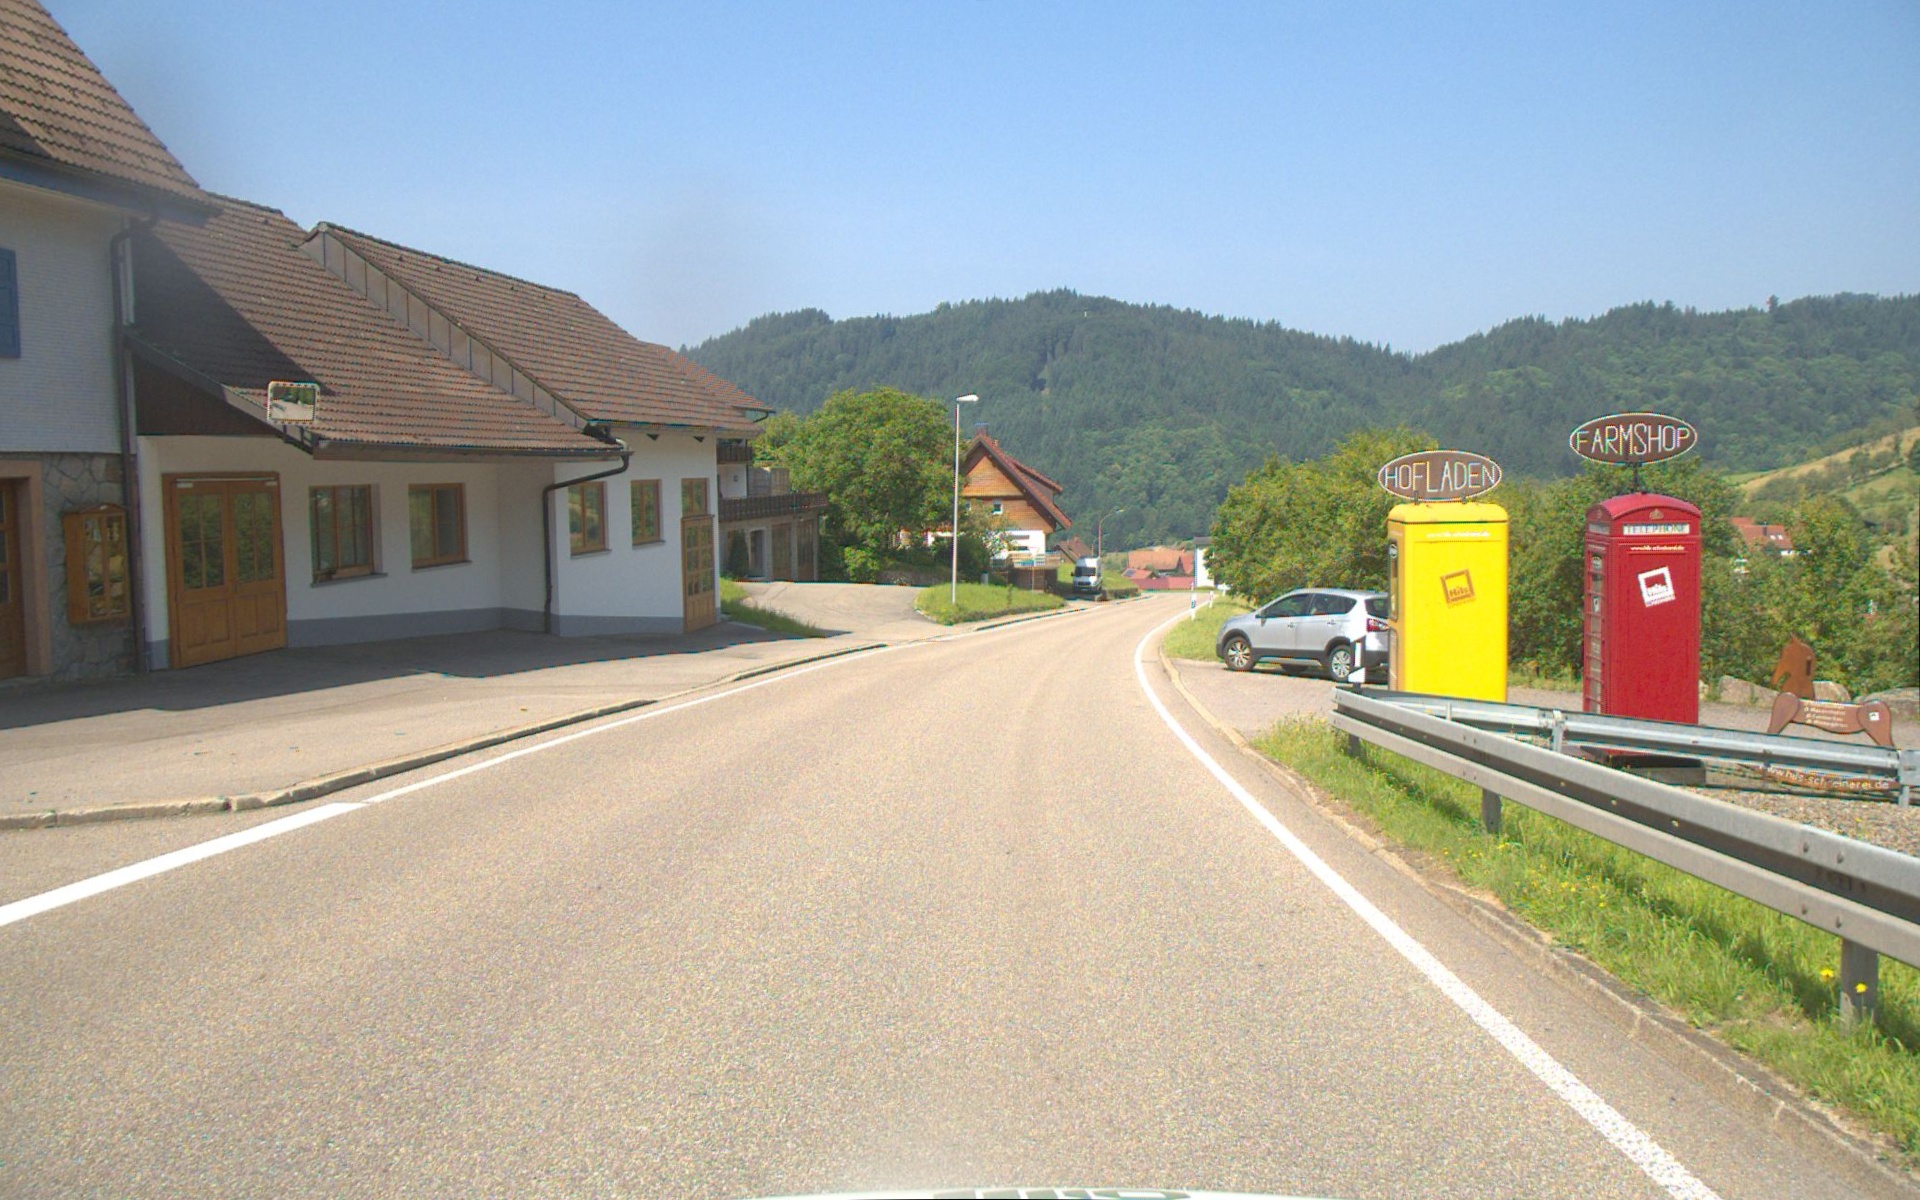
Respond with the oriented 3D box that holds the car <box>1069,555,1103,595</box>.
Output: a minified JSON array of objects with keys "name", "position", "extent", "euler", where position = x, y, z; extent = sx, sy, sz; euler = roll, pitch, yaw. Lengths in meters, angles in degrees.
[{"name":"car","position":[10.062,-2.026,131.509],"extent":[2.023,2.734,7.183],"euler":[-1,4,9]}]

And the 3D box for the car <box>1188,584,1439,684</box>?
[{"name":"car","position":[6.360,0.569,30.214],"extent":[1.883,1.598,4.408],"euler":[1,1,-35]}]
